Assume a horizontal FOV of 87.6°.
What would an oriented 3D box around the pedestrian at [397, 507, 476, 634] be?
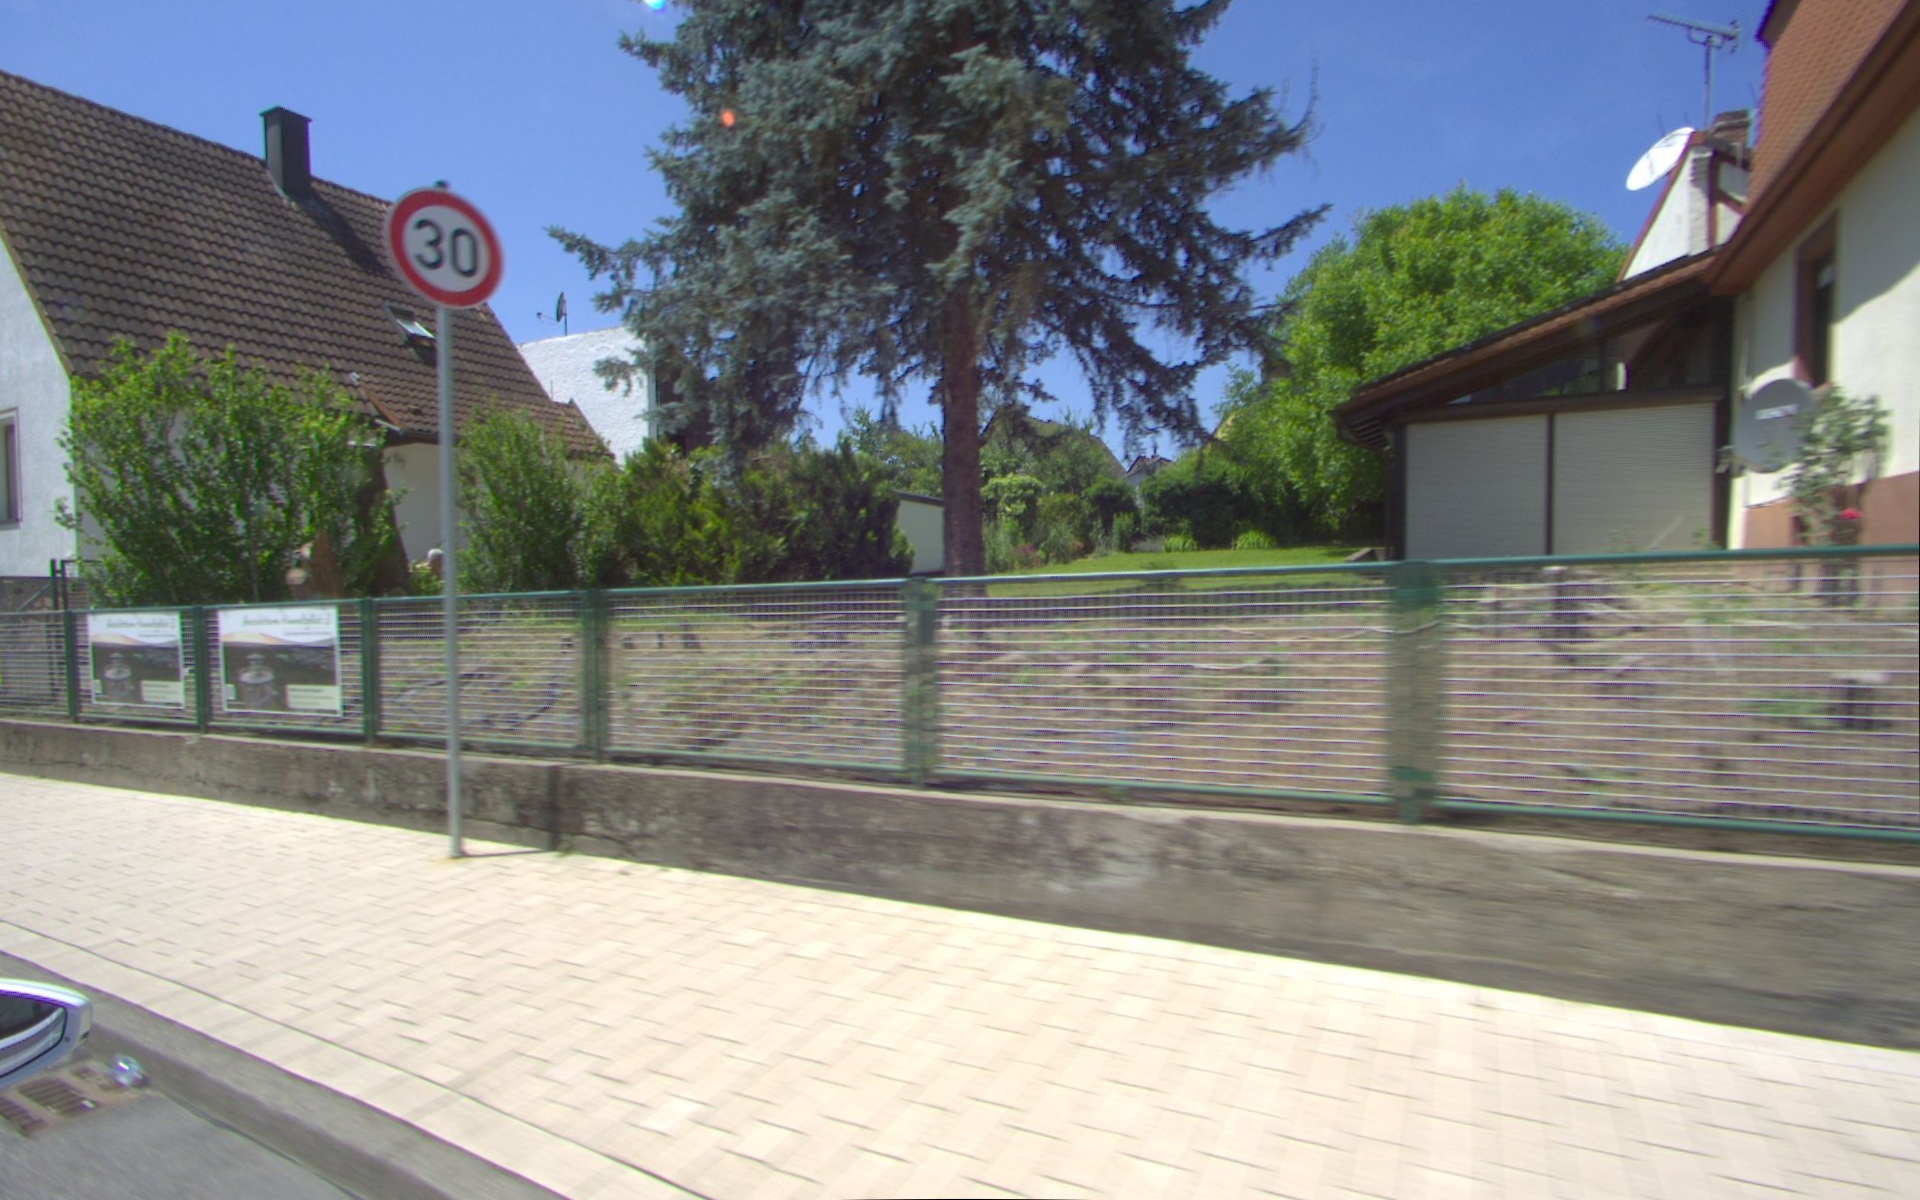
[{"bbox_3d":[-6.951,-0.395,13.308,0.544,1.639,0.603,-1,5,28],"label":"pedestrian"}]
